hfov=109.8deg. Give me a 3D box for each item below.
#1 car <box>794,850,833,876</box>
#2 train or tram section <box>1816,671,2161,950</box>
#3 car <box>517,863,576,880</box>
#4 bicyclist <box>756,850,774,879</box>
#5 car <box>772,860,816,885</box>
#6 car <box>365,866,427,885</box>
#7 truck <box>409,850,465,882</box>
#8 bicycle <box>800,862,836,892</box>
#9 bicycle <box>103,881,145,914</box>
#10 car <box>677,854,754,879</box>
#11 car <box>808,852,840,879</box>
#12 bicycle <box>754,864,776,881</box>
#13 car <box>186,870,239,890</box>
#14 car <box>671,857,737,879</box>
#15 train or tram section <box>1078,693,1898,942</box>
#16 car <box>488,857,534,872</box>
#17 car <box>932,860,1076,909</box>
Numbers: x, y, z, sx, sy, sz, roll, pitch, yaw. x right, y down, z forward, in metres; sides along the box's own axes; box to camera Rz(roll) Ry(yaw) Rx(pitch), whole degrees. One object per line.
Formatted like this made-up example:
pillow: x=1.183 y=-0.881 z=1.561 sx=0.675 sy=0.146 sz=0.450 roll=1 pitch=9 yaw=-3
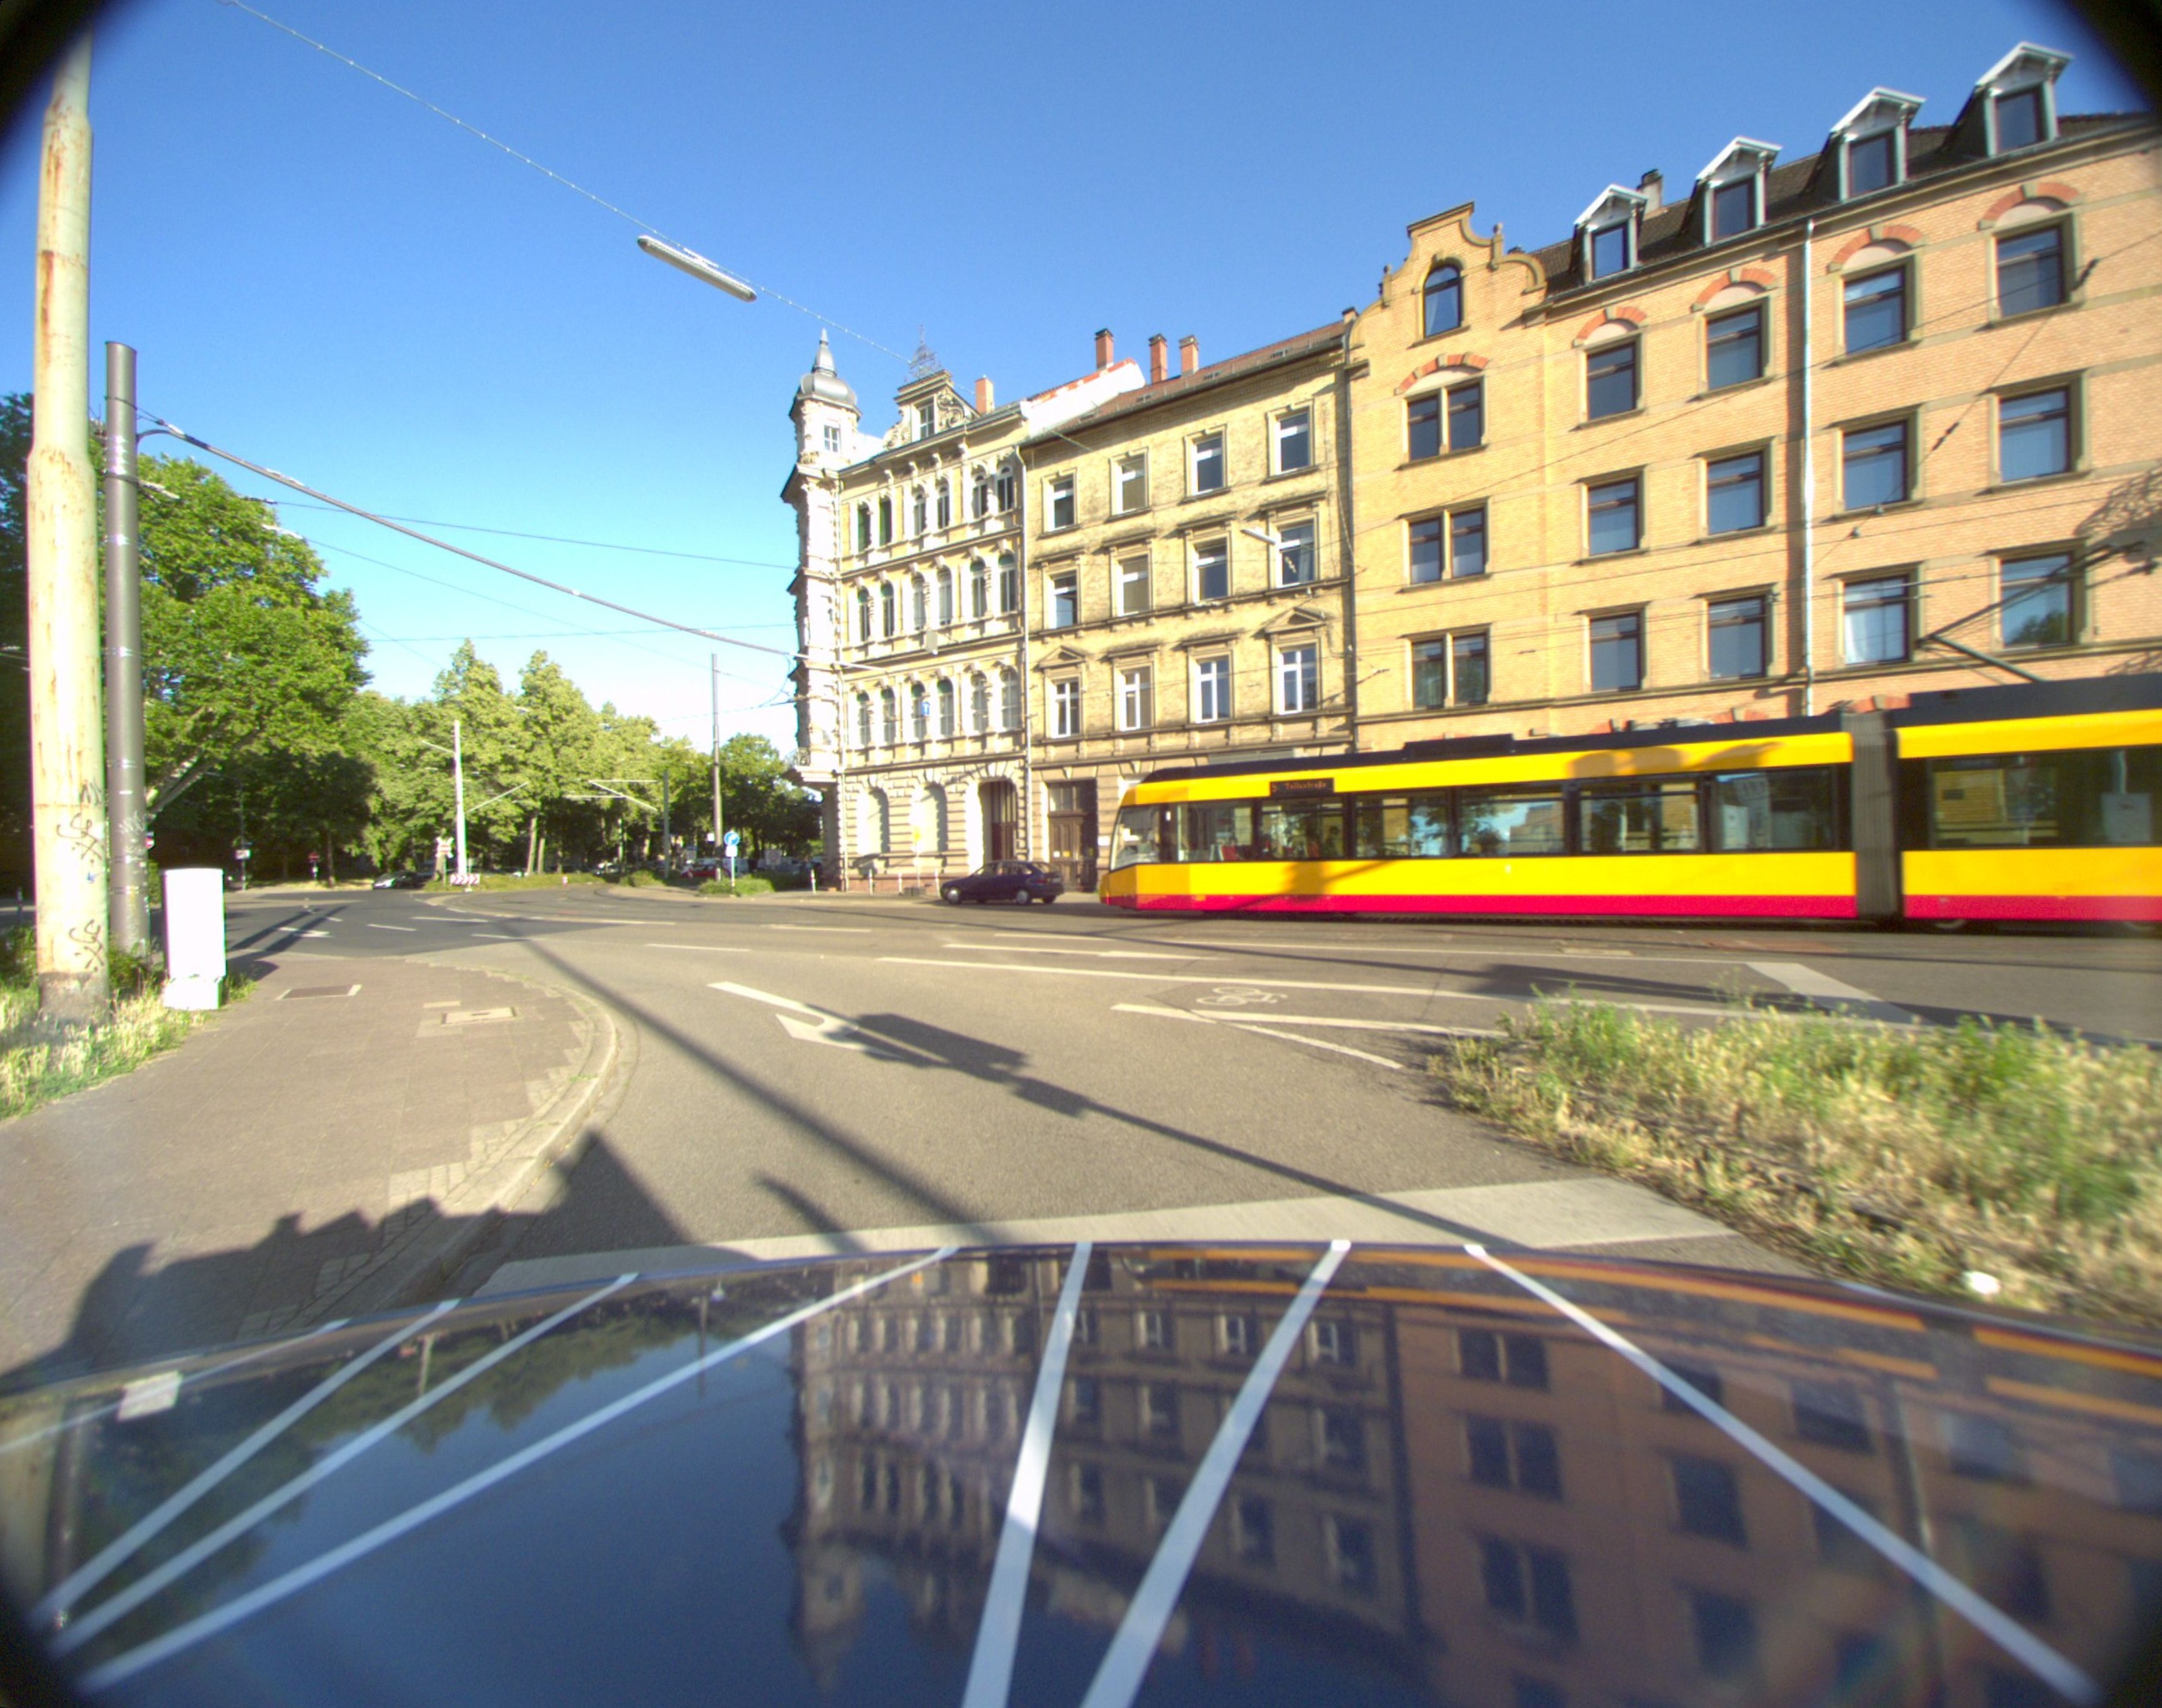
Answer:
car: x=-17.776 y=0.591 z=50.684 sx=1.738 sy=1.652 sz=3.997 roll=-1 pitch=0 yaw=-9
train or tram section: x=14.411 y=-0.556 z=10.657 sx=5.289 sy=3.487 sz=2.875 roll=-1 pitch=0 yaw=28
car: x=-45.264 y=1.441 z=64.387 sx=3.686 sy=1.346 sz=1.741 roll=-1 pitch=0 yaw=-1
bicyclist: x=-20.373 y=0.677 z=48.991 sx=0.730 sy=1.829 sz=1.212 roll=-2 pitch=0 yaw=-7
car: x=-17.333 y=1.107 z=46.010 sx=1.738 sy=1.406 sz=3.431 roll=-1 pitch=0 yaw=-9
car: x=-56.462 y=1.749 z=62.726 sx=1.951 sy=1.390 sz=3.996 roll=-1 pitch=0 yaw=-10
truck: x=-57.620 y=1.056 z=68.119 sx=2.001 sy=2.767 sz=4.877 roll=-1 pitch=0 yaw=-17
bicycle: x=-11.680 y=0.996 z=33.877 sx=0.645 sy=1.258 sz=2.688 roll=-1 pitch=0 yaw=0
bicycle: x=-36.092 y=1.623 z=28.681 sx=0.611 sy=1.128 sz=2.274 roll=-2 pitch=1 yaw=-42
car: x=-28.439 y=0.951 z=59.175 sx=5.054 sy=1.777 sz=2.000 roll=-1 pitch=0 yaw=4
car: x=-20.605 y=0.885 z=61.154 sx=2.001 sy=2.002 sz=4.630 roll=-1 pitch=0 yaw=-14
bicycle: x=-20.342 y=1.187 z=48.935 sx=0.728 sy=1.077 sz=2.115 roll=-2 pitch=0 yaw=-8
car: x=-66.130 y=1.950 z=57.825 sx=3.622 sy=1.440 sz=1.744 roll=-1 pitch=0 yaw=26
car: x=-28.188 y=1.036 z=56.856 sx=3.996 sy=1.499 sz=1.869 roll=-1 pitch=0 yaw=4
train or tram section: x=6.364 y=-0.409 z=14.952 sx=12.980 sy=3.487 sz=2.875 roll=-1 pitch=0 yaw=28
car: x=-71.605 y=1.276 z=95.431 sx=4.437 sy=1.739 sz=2.001 roll=-1 pitch=0 yaw=9
car: x=-2.424 y=0.914 z=23.660 sx=4.152 sy=1.372 sz=1.818 roll=-1 pitch=0 yaw=29
